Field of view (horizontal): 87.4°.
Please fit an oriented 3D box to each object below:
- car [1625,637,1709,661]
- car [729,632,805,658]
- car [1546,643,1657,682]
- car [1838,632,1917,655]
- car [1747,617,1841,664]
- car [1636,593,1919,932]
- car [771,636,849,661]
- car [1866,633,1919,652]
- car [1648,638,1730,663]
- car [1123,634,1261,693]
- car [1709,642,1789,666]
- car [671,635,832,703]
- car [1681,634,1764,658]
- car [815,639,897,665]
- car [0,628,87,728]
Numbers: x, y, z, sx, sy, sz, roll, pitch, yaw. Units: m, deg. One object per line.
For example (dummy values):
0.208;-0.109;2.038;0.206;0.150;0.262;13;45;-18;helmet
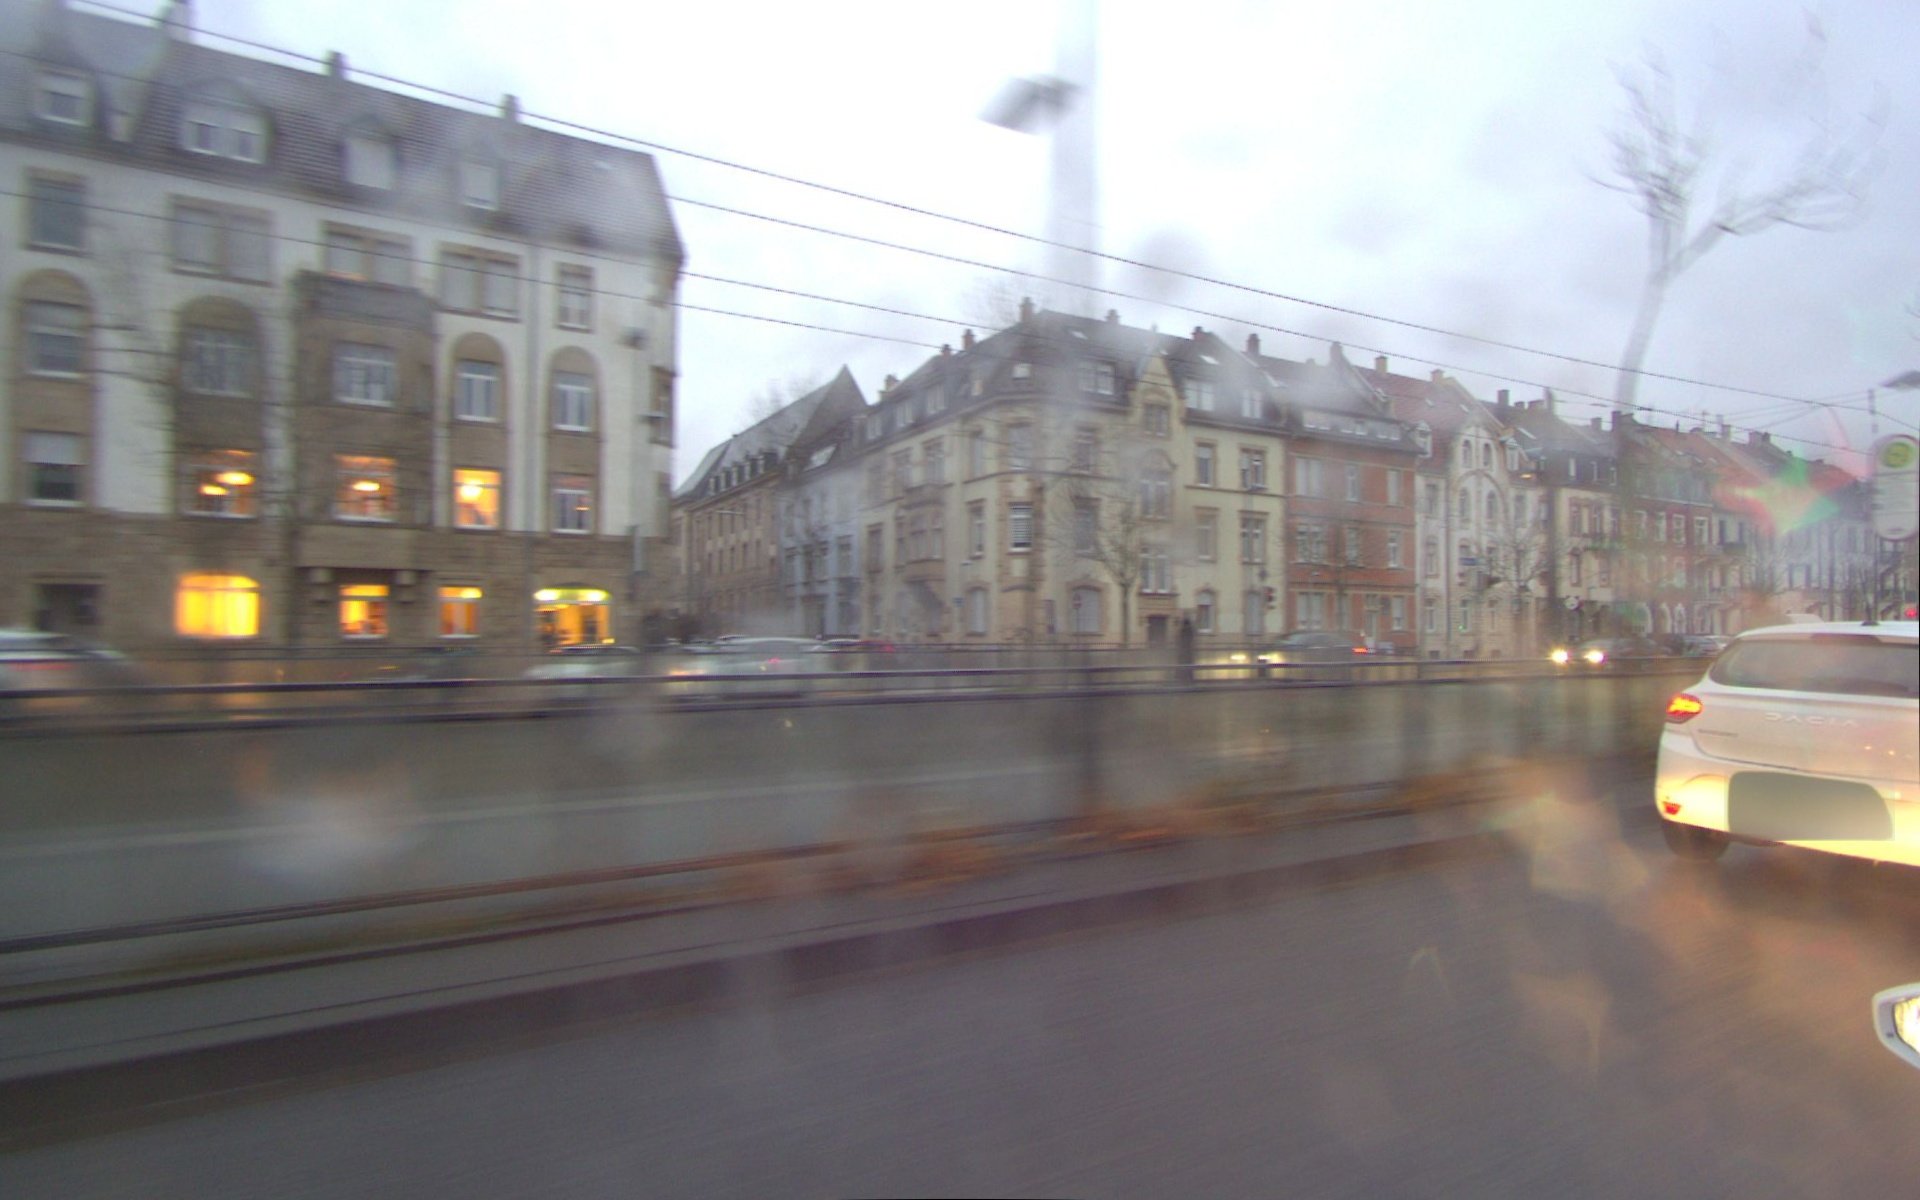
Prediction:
36.812;2.551;52.441;1.959;1.184;4.003;0;-2;8;car
-11.348;2.657;59.166;3.919;1.227;1.872;3;-3;10;car
26.105;2.512;40.836;4.644;1.472;1.856;1;-3;-30;car
63.375;3.007;69.468;1.960;1.505;4.003;0;-2;5;car
52.349;2.535;63.194;1.959;2.834;5.872;-1;-2;12;car
6.119;0.815;6.194;4.005;1.621;1.664;1;-1;-30;car
-7.702;2.504;51.994;3.925;1.228;1.869;0;-2;-6;car
66.280;2.977;70.543;1.959;1.349;4.003;0;-2;8;car
40.745;2.811;56.264;1.959;1.349;4.003;0;-2;6;car
7.100;1.901;30.692;3.953;1.659;1.856;1;-1;-30;car
46.489;3.160;59.295;1.959;1.349;4.003;0;-2;8;car
-4.694;1.529;22.692;3.221;1.426;1.671;1;-3;-30;car
43.744;2.625;57.743;1.960;1.349;4.003;0;-2;5;car
-5.087;2.537;49.150;3.925;1.227;1.869;0;-3;-6;car
-16.273;1.235;15.714;3.711;1.554;1.669;1;-3;-34;car
